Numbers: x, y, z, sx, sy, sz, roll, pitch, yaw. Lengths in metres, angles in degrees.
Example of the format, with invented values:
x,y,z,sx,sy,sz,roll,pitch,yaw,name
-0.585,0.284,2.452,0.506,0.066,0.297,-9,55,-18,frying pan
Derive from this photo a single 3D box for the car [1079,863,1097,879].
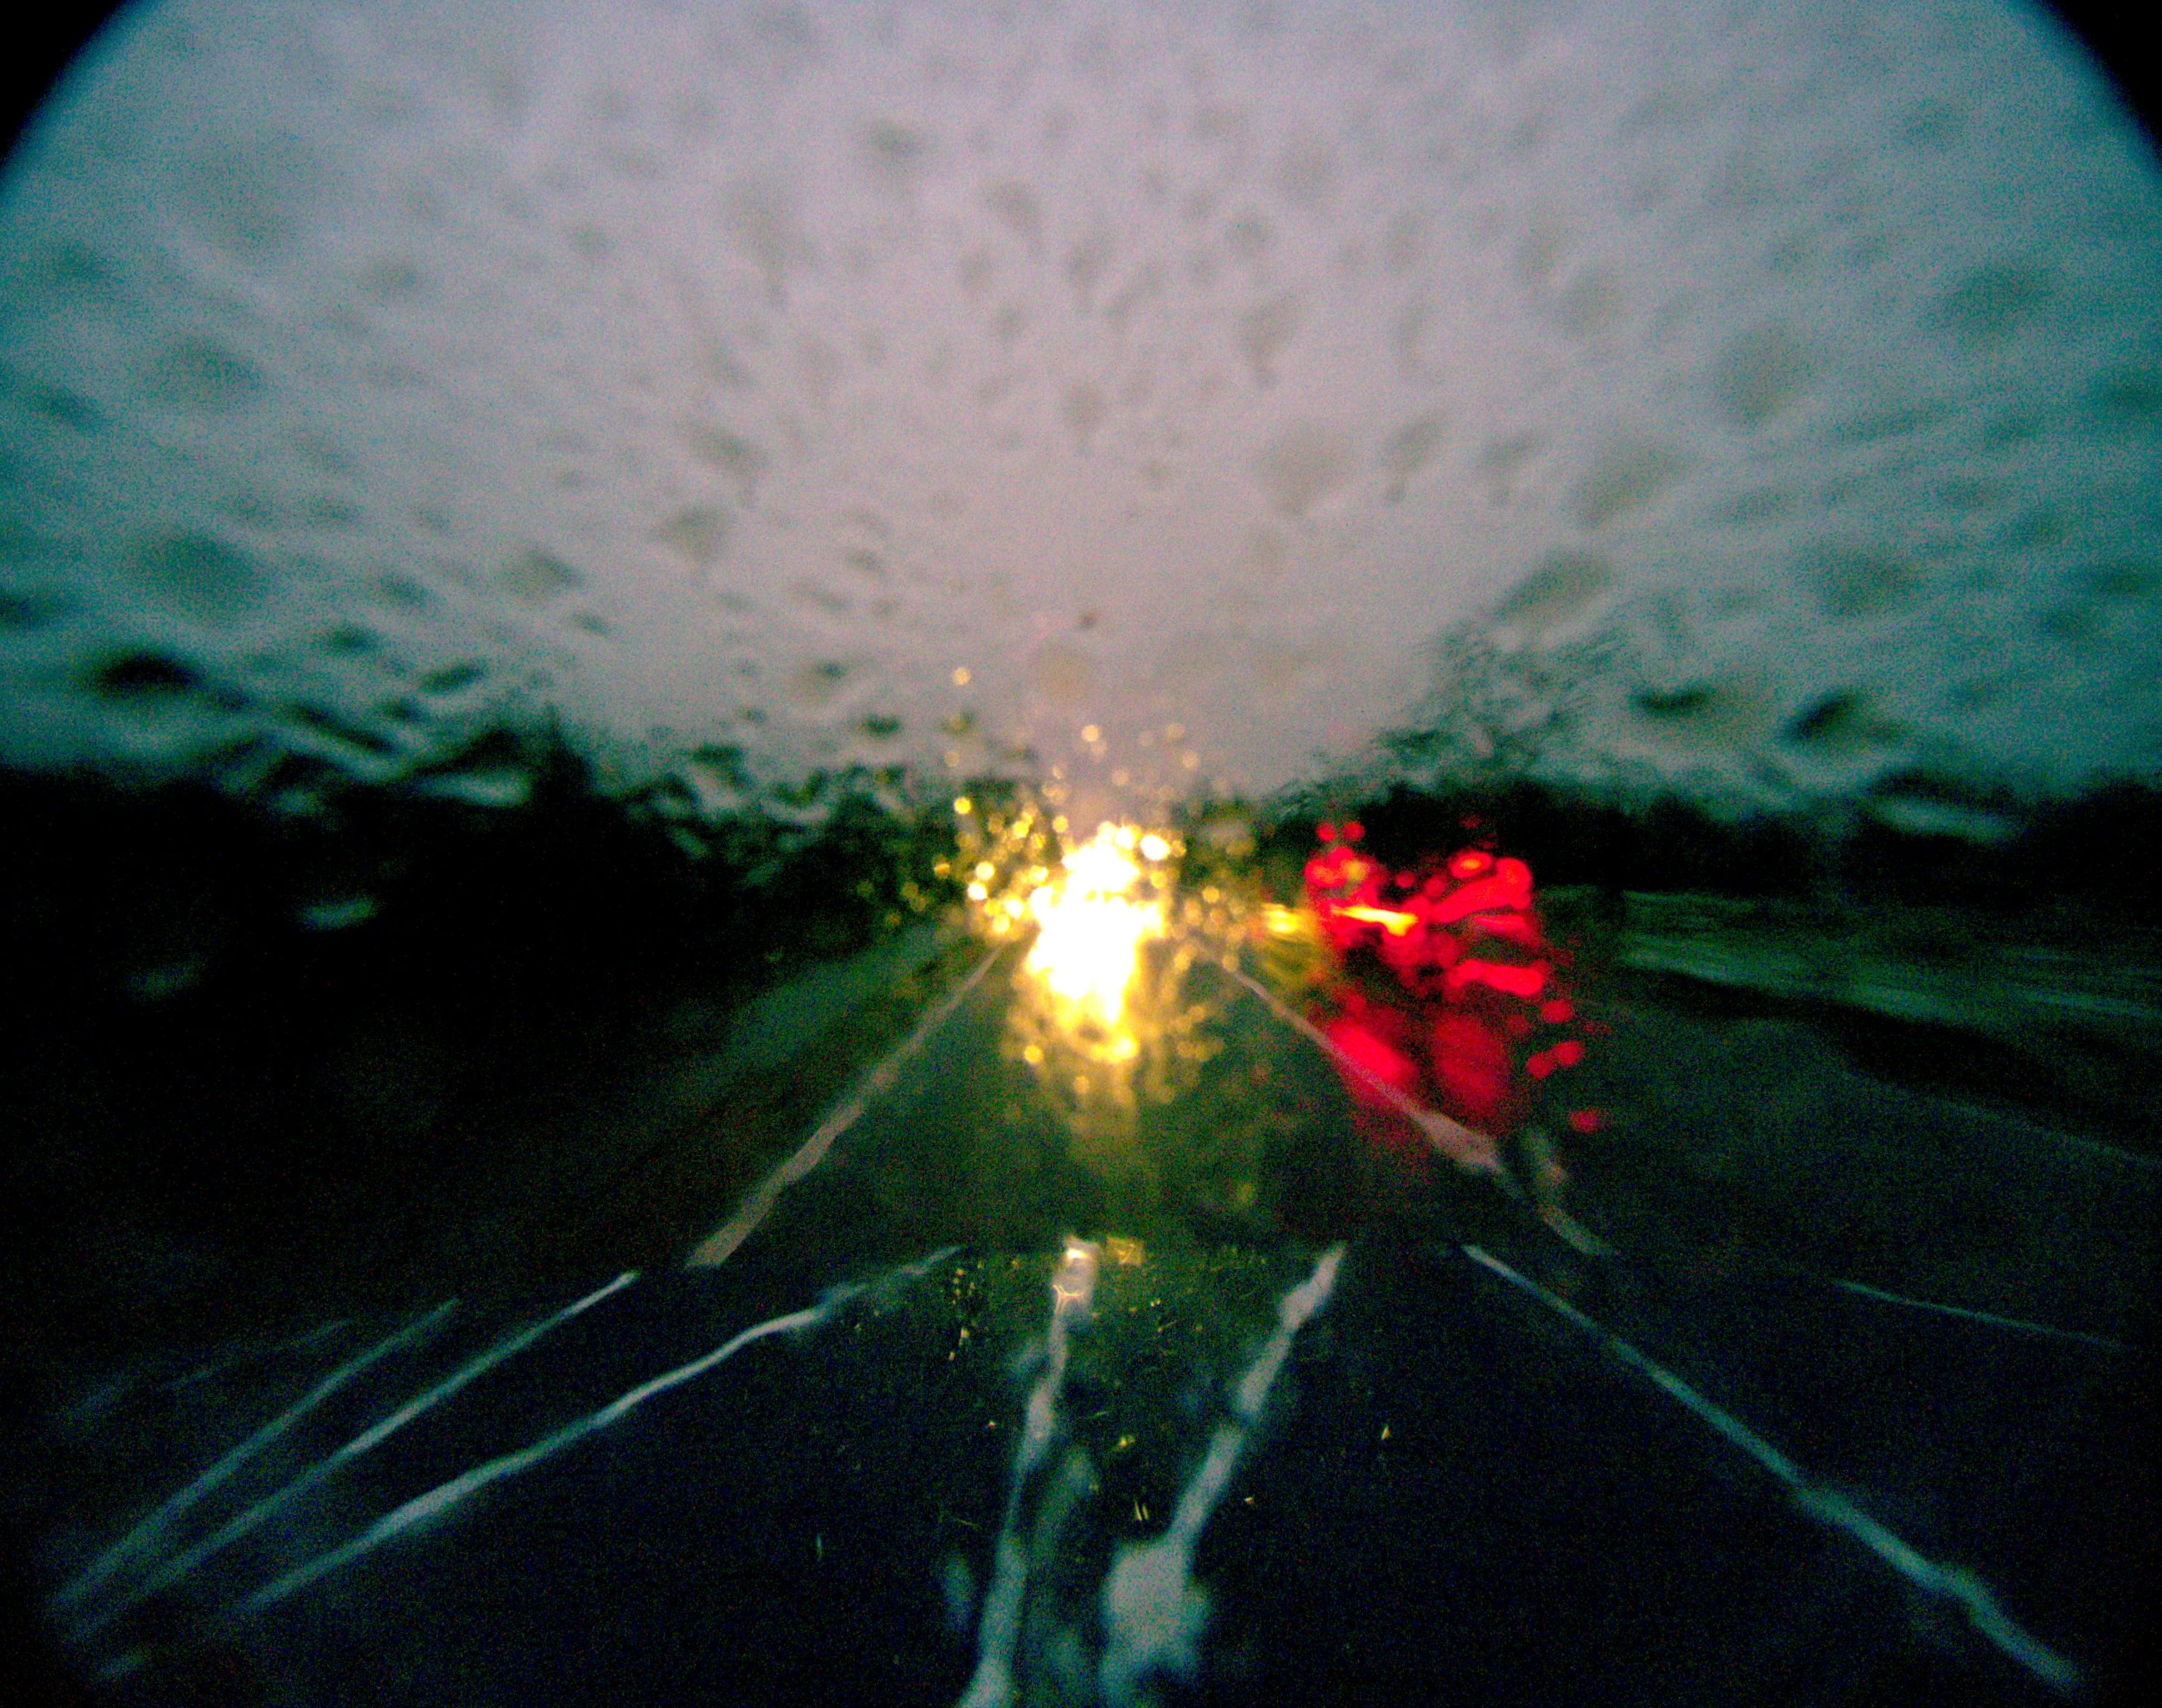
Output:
x,y,z,sx,sy,sz,roll,pitch,yaw,name
0.835,1.891,86.996,1.998,1.612,4.000,-2,0,1,car

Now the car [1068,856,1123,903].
x,y,z,sx,sy,sz,roll,pitch,yaw,name
0.529,0.888,28.429,1.860,1.604,4.000,-1,0,1,car

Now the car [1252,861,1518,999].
x,y,z,sx,sy,sz,roll,pitch,yaw,name
3.947,0.879,10.843,1.860,1.508,4.515,1,0,-2,car
